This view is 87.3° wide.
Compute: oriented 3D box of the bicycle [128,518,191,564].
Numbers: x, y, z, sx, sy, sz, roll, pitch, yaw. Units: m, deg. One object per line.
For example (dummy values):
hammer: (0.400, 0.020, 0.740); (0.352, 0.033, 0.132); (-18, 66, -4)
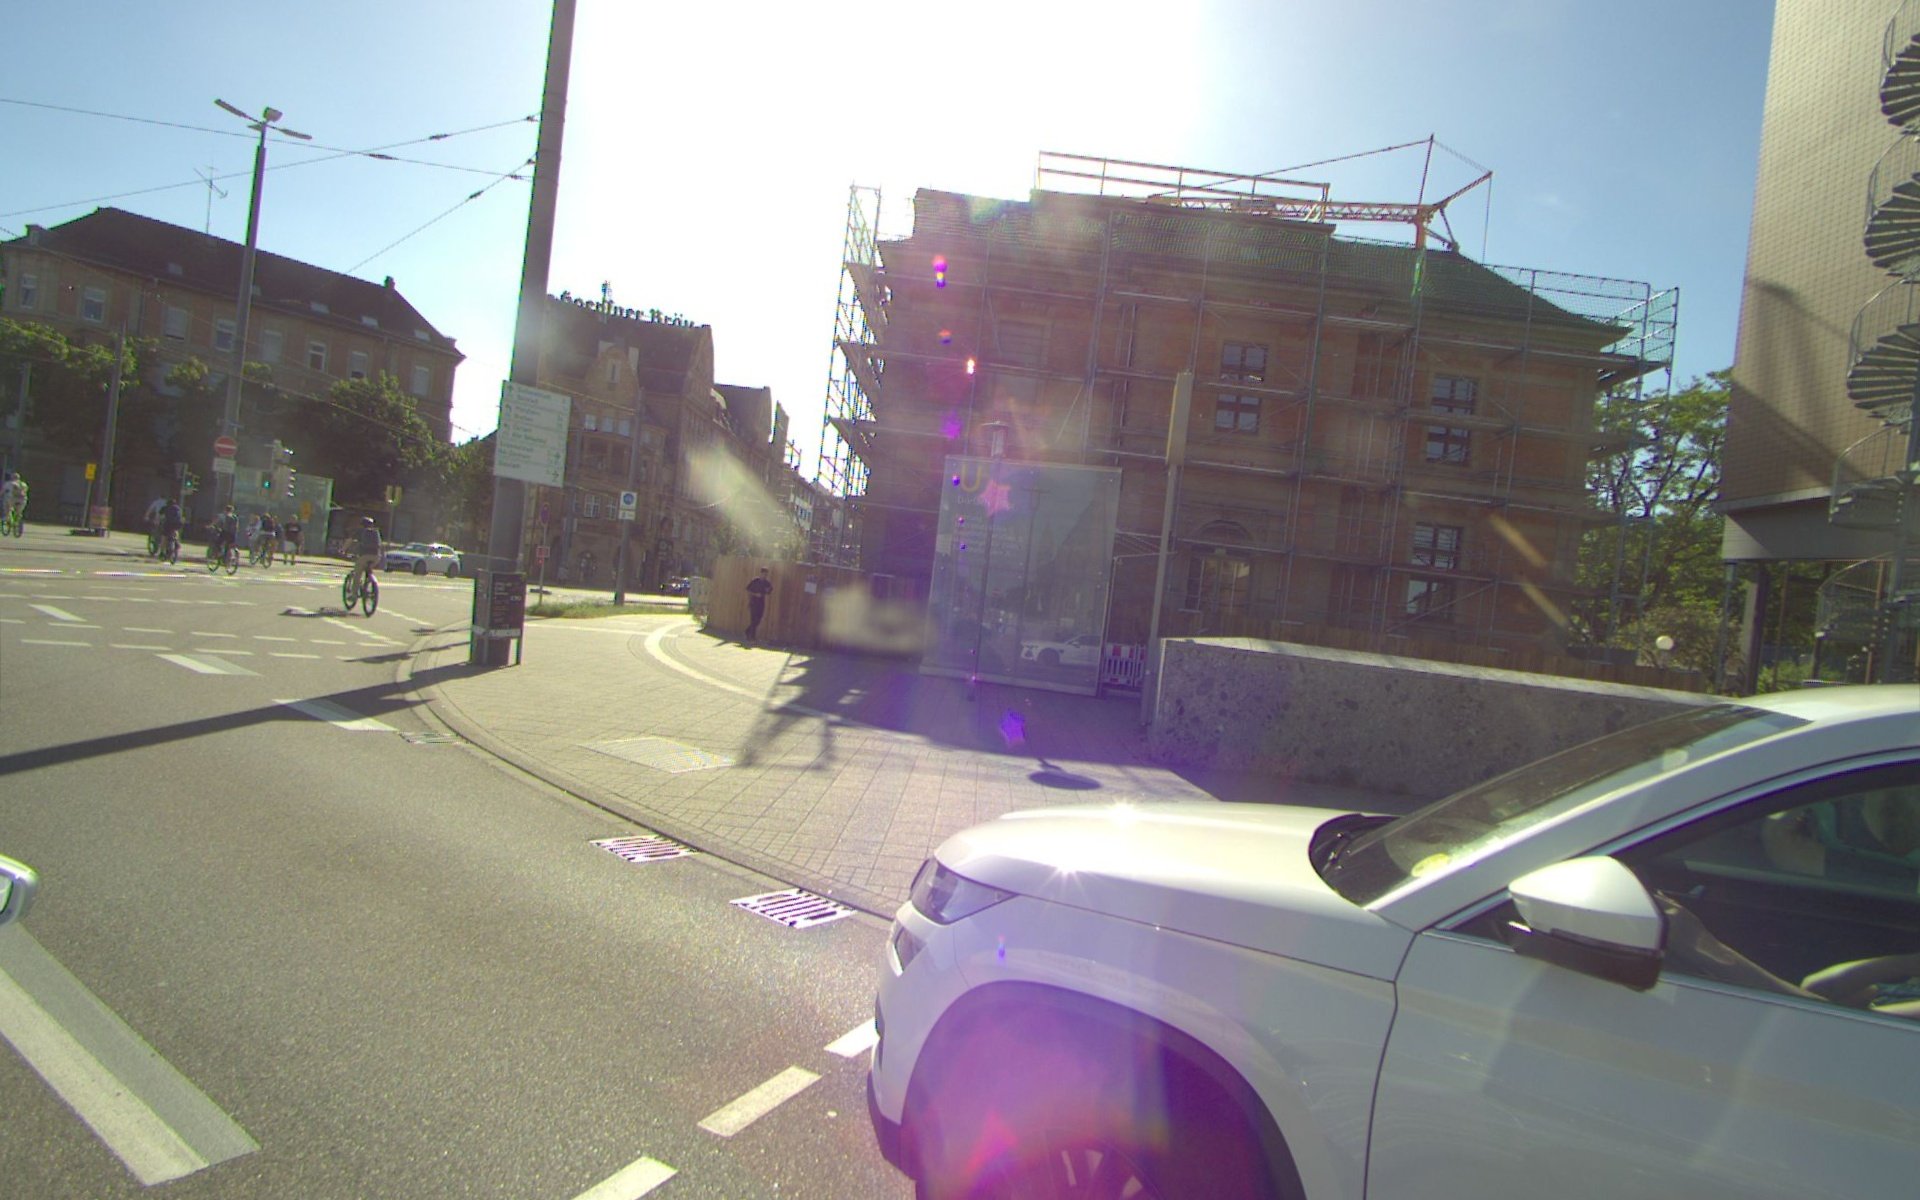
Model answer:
bicycle: (-23.282, -1.717, 29.254); (1.897, 1.082, 0.387); (8, 1, 18)

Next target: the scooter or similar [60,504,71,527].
scooter or similar: (-47.825, -4.527, 53.770); (0.269, 1.198, 1.546); (8, -2, -43)

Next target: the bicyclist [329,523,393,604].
bicyclist: (-11.604, -0.719, 19.476); (1.023, 1.438, 0.673); (6, -2, 44)

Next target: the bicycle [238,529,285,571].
bicycle: (-22.560, -1.624, 32.494); (1.903, 1.130, 0.532); (9, 0, 36)

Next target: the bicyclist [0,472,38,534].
bicyclist: (-28.214, -2.906, 30.006); (1.103, 1.703, 0.681); (6, -1, 36)

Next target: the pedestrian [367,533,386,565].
pedestrian: (-35.735, -3.134, 61.625); (0.537, 1.870, 0.650); (7, -1, 4)

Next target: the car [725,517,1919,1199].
car: (1.852, 0.942, 1.923); (4.325, 1.663, 1.867); (7, -2, 33)

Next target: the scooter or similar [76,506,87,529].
scooter or similar: (-47.371, -4.455, 54.224); (0.269, 1.209, 1.546); (8, -2, -43)

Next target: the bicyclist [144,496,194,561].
bicyclist: (-21.550, -1.945, 27.405); (0.965, 1.632, 0.624); (7, -1, 33)

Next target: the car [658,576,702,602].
car: (-23.361, -0.906, 84.100); (1.882, 1.706, 4.255); (6, -2, 8)

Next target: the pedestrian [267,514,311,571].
pedestrian: (-24.937, -2.153, 37.401); (1.034, 1.952, 0.930); (6, -2, 42)

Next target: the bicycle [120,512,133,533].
bicycle: (-46.131, -4.274, 55.705); (0.401, 1.073, 1.467); (8, -2, -39)

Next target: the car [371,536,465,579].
car: (-27.197, -2.116, 50.642); (1.882, 1.640, 4.256); (6, -2, 8)

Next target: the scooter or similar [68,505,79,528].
scooter or similar: (-47.609, -4.488, 53.998); (0.269, 1.198, 1.546); (8, -2, -43)

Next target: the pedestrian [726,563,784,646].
pedestrian: (-4.798, 0.108, 23.586); (0.819, 1.808, 0.775); (6, -2, 38)

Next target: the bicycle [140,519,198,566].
bicycle: (-21.628, -1.567, 27.495); (1.902, 1.131, 0.532); (5, -1, 32)

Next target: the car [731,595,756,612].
car: (-25.027, 0.448, 116.196); (1.720, 1.640, 4.018); (6, -1, 3)

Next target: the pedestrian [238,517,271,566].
pedestrian: (-26.112, -2.165, 37.255); (0.812, 1.696, 0.658); (6, -2, 42)

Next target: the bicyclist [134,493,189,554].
bicyclist: (-23.272, -2.213, 29.324); (0.869, 1.612, 0.785); (7, 0, 19)

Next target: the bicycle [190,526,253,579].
bicycle: (-18.724, -1.206, 25.500); (1.902, 1.130, 0.532); (7, -1, 33)

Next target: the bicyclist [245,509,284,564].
bicyclist: (-22.517, -2.061, 32.586); (0.938, 1.632, 0.598); (6, -1, 37)

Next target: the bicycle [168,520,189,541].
bicycle: (-44.550, -3.968, 57.336); (1.329, 1.073, 0.404); (6, -1, 31)

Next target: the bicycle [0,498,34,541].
bicycle: (-28.293, -2.418, 29.997); (1.903, 1.130, 0.532); (7, -1, 36)

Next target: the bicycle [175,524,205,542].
bicycle: (-48.014, -4.171, 62.761); (1.411, 0.866, 0.400); (9, -2, -38)

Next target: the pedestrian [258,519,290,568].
pedestrian: (-26.176, -2.155, 38.380); (0.812, 1.777, 0.658); (6, -2, 42)

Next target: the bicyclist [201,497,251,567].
bicyclist: (-18.584, -1.726, 25.467); (0.937, 1.632, 0.551); (7, -1, 32)

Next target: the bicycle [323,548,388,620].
bicycle: (-11.798, -0.334, 19.615); (1.841, 1.172, 0.530); (8, 0, 45)

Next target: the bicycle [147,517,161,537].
bicycle: (-45.350, -4.121, 56.593); (0.402, 1.073, 1.336); (8, -2, -43)
